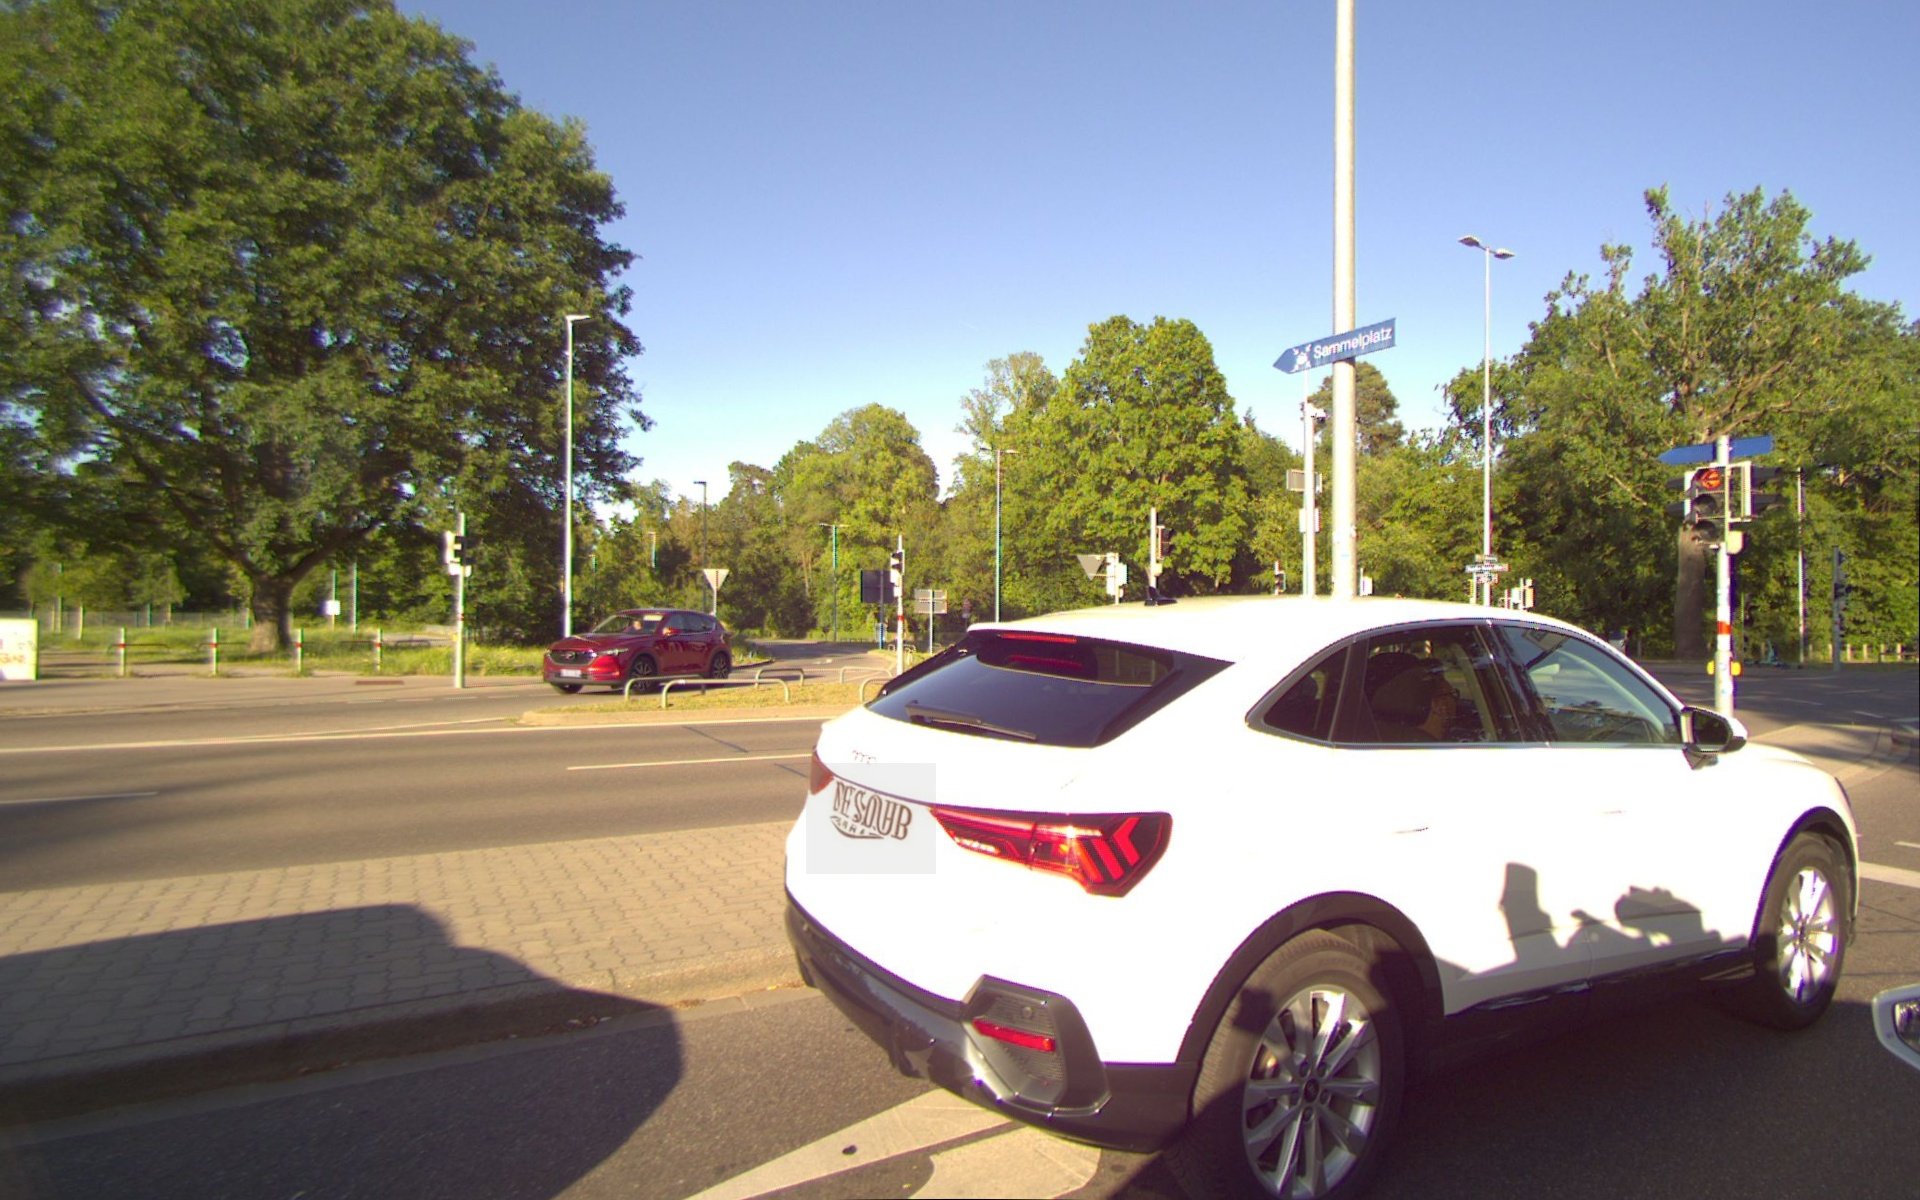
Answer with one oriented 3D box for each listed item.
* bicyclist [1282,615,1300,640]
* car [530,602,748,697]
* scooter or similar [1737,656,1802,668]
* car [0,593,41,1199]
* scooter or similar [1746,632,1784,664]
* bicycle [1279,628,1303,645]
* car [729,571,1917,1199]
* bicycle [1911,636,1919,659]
[{"bbox_3d":[20.095,1.678,61.002,0.716,1.502,0.799,1,0,-8],"label":"bicyclist"},{"bbox_3d":[-6.177,0.994,19.988,1.855,1.573,4.576,-4,-4,16],"label":"car"},{"bbox_3d":[29.186,2.243,36.219,1.241,0.344,1.405,0,-1,-22],"label":"scooter or similar"},{"bbox_3d":[-3.543,0.664,0.490,4.268,1.446,1.649,1,-1,-31],"label":"car"},{"bbox_3d":[30.125,1.802,37.604,0.388,1.162,1.065,0,-1,-21],"label":"scooter or similar"},{"bbox_3d":[20.085,2.217,60.966,0.770,0.990,1.588,1,0,-8],"label":"bicycle"},{"bbox_3d":[1.507,0.758,3.686,4.250,1.533,1.825,1,-1,-31],"label":"car"},{"bbox_3d":[51.460,2.495,53.142,1.949,1.169,0.680,-1,0,-12],"label":"bicycle"}]
